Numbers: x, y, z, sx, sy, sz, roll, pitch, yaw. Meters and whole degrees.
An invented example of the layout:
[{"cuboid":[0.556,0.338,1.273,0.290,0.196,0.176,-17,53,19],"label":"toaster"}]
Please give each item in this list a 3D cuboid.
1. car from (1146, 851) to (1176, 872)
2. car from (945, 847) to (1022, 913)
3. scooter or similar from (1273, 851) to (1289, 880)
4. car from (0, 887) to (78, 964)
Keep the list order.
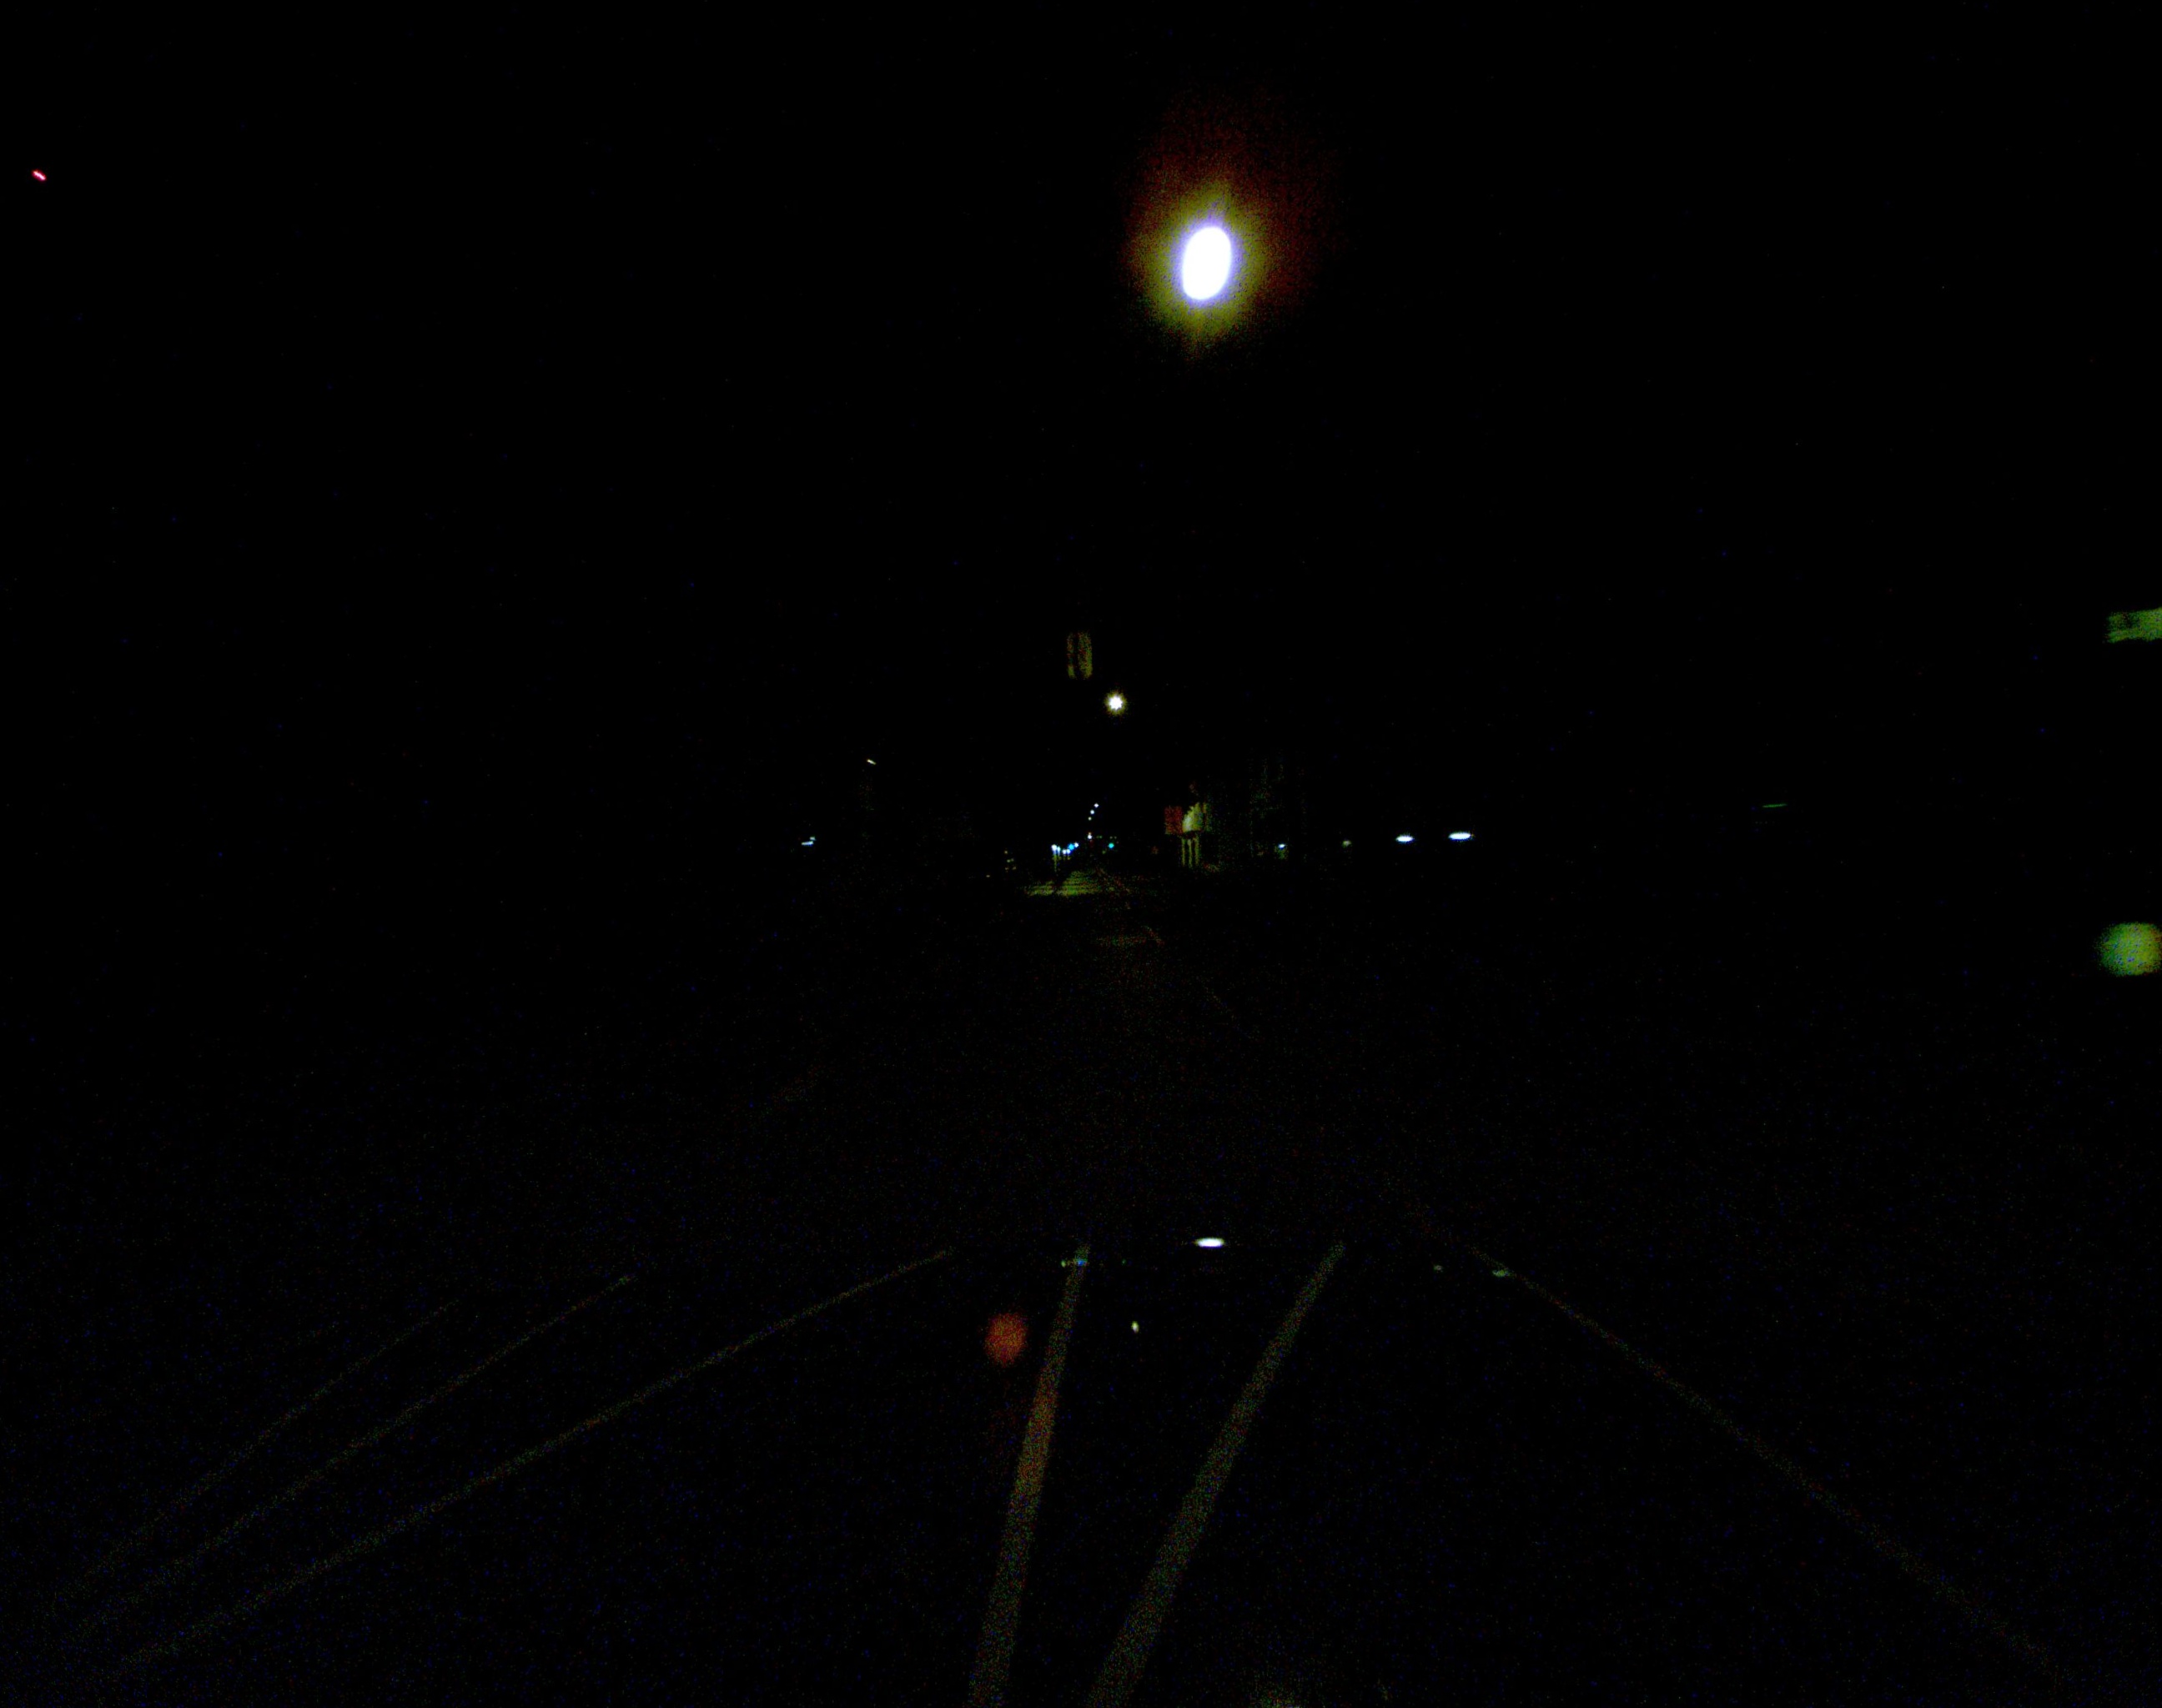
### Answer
[{"cuboid":[6.143,0.524,58.906,1.731,1.477,4.290,-3,0,-1],"label":"car"},{"cuboid":[-2.969,0.741,24.191,1.916,1.816,4.899,-2,0,-2],"label":"car"},{"cuboid":[8.796,0.509,33.448,0.332,1.218,1.335,-3,1,2],"label":"scooter or similar"},{"cuboid":[-25.562,1.724,16.647,1.836,1.673,3.915,-3,1,0],"label":"car"}]
